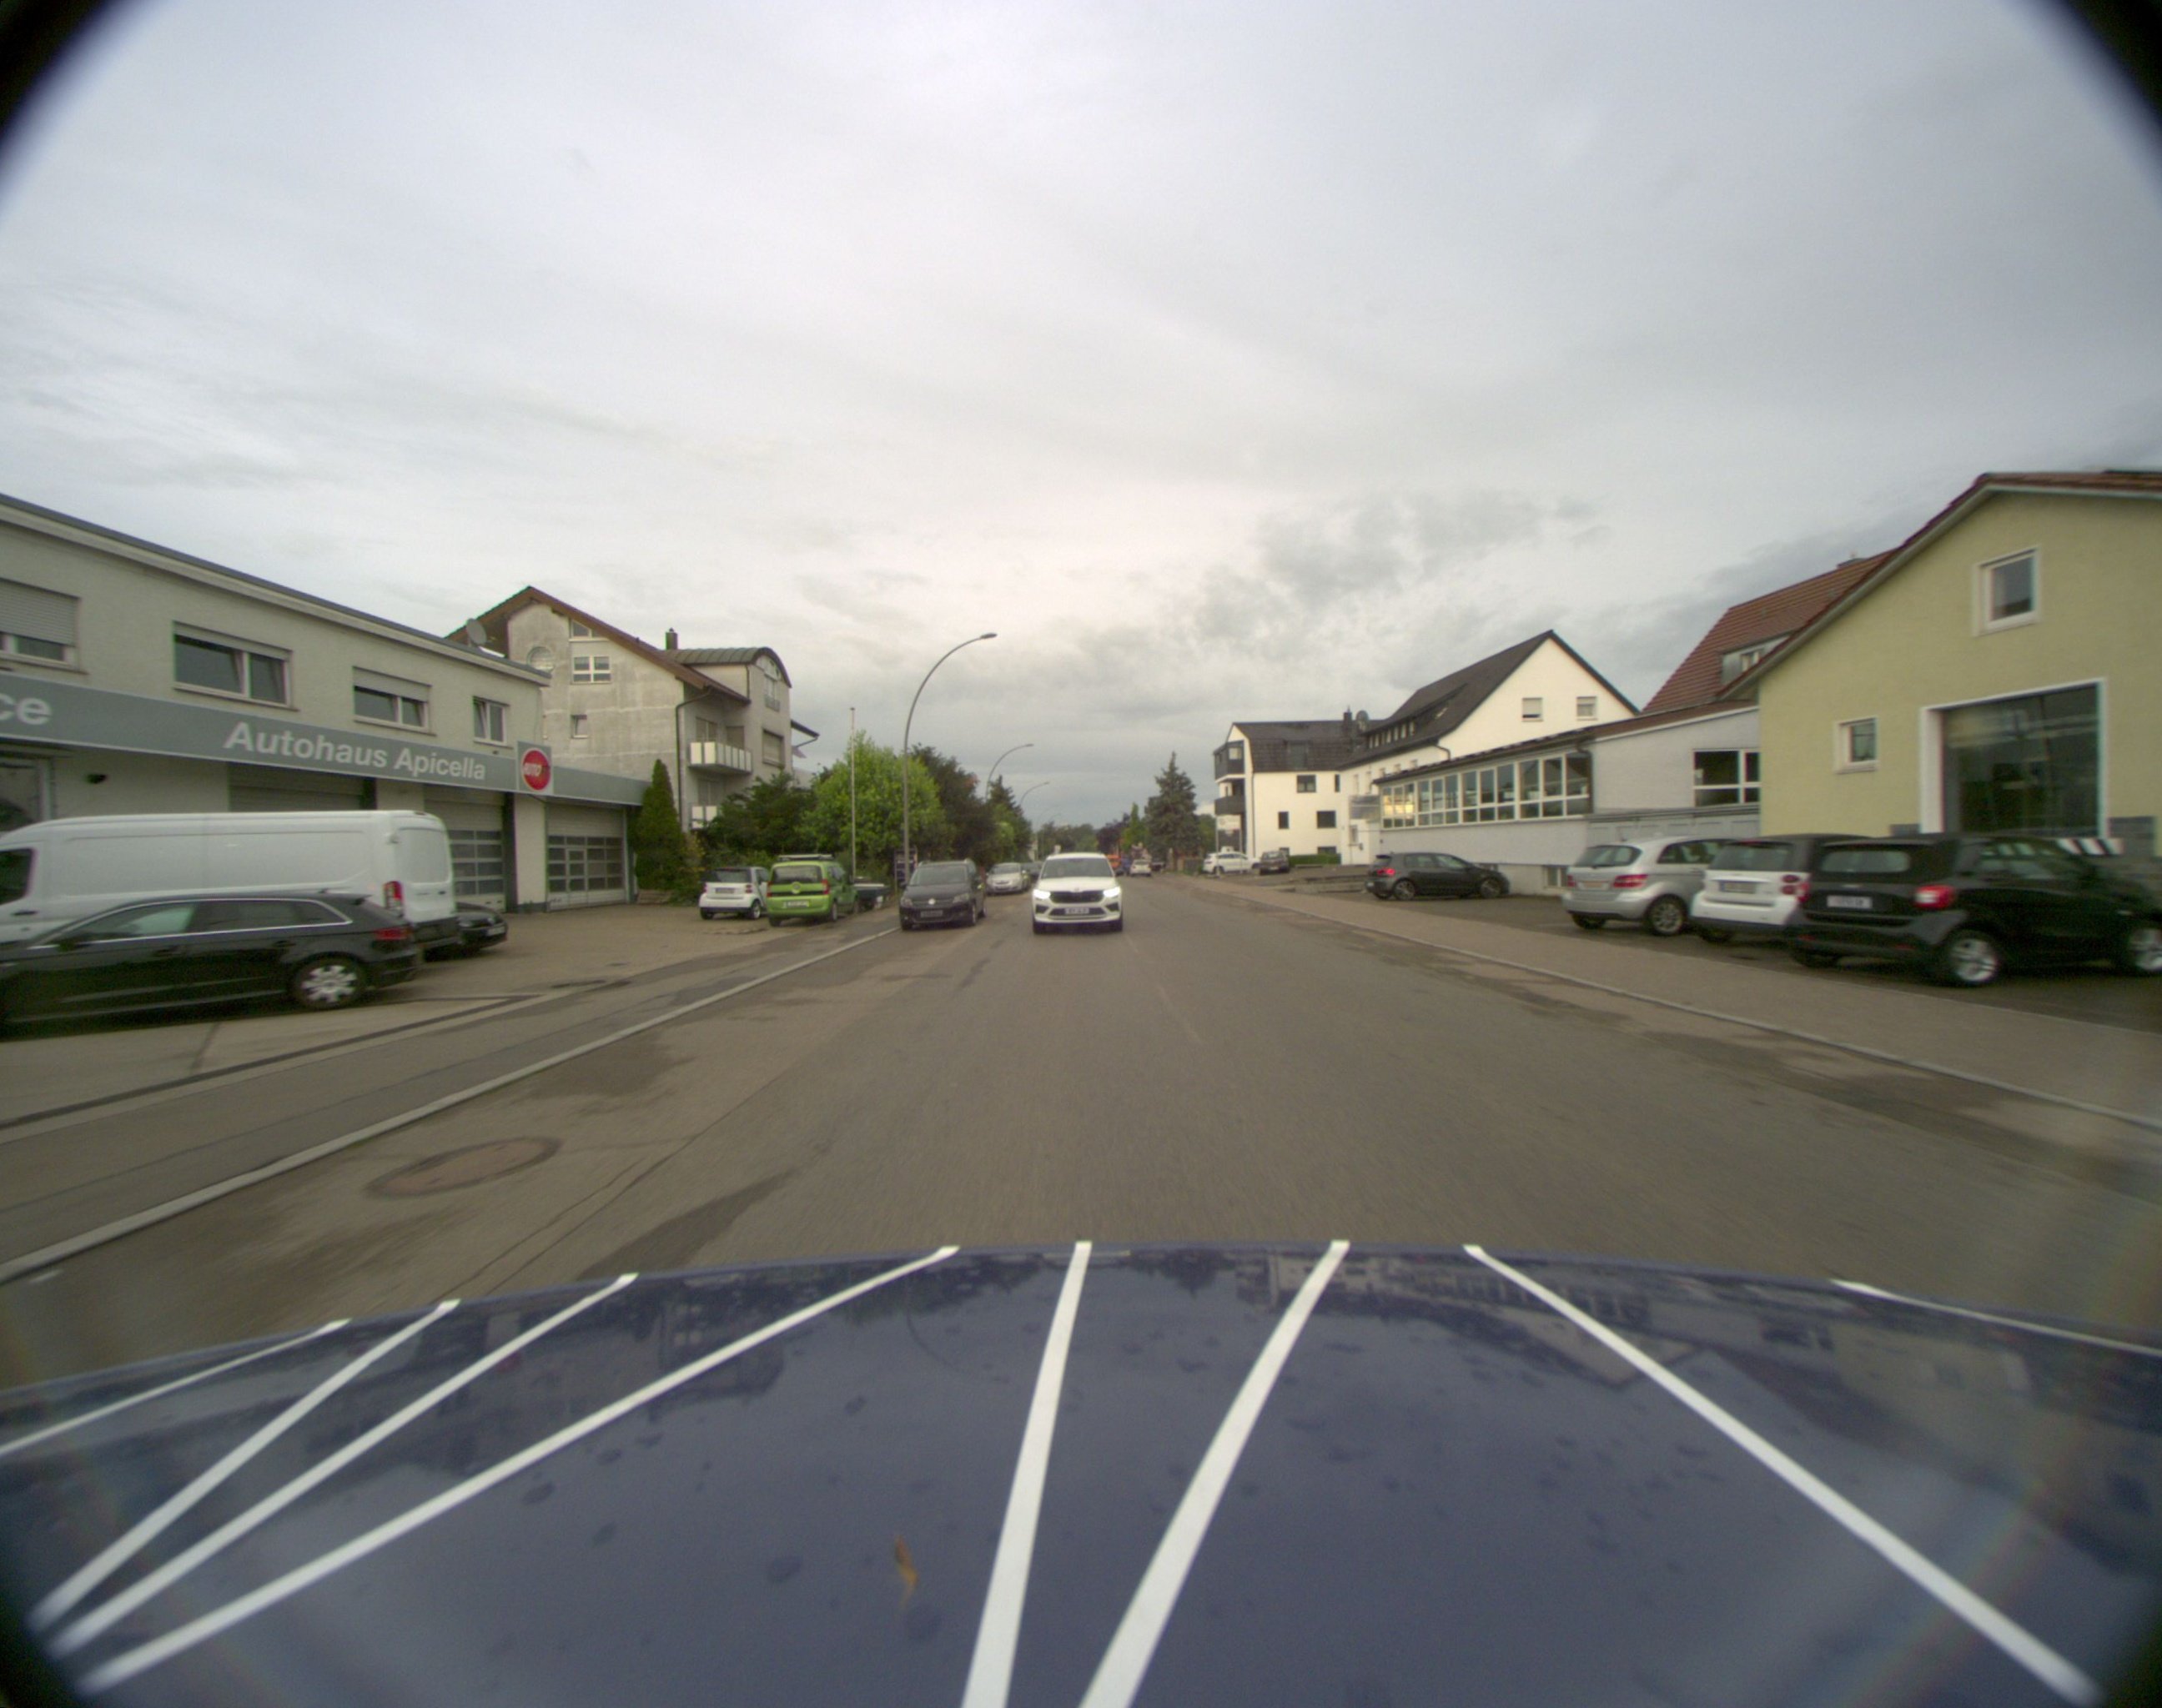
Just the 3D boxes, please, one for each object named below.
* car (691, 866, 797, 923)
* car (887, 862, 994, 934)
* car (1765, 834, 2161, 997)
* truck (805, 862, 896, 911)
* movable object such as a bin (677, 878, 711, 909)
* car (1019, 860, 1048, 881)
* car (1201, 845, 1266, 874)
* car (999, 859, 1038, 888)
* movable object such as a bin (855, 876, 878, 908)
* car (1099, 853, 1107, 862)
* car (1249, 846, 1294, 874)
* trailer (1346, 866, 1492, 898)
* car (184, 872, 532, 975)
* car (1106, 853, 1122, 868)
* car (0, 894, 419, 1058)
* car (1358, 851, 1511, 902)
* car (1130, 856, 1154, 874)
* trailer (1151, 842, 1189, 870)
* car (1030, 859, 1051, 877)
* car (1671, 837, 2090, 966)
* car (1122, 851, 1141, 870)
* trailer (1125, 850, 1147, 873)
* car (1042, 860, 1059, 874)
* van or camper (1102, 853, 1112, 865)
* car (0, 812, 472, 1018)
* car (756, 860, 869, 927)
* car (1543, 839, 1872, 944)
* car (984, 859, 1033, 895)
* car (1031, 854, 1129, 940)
[{"bbox_3d":[-10.197,1.173,23.294,1.752,1.510,3.731,1,0,-4],"label":"car"},{"bbox_3d":[-3.430,1.015,19.266,1.999,1.586,4.000,-1,0,-1],"label":"car"},{"bbox_3d":[10.275,0.575,8.364,4.096,1.494,1.755,-2,0,-6],"label":"car"},{"bbox_3d":[-7.645,1.059,25.291,2.560,1.521,1.327,-1,1,8],"label":"truck"},{"bbox_3d":[-14.593,1.496,28.663,0.860,1.072,0.758,-3,1,-1],"label":"movable object such as a bin"},{"bbox_3d":[-3.369,1.129,54.171,1.756,1.410,4.110,-1,0,0],"label":"car"},{"bbox_3d":[10.550,0.383,52.767,3.998,1.637,2.000,-5,0,-2],"label":"car"},{"bbox_3d":[-3.377,1.042,41.475,1.742,1.394,3.718,-3,0,0],"label":"car"},{"bbox_3d":[-7.532,1.330,26.689,0.576,1.069,0.682,-1,1,-1],"label":"movable object such as a bin"},{"bbox_3d":[5.483,0.891,188.931,1.659,2.220,3.744,-2,1,0],"label":"car"},{"bbox_3d":[11.974,0.345,47.958,1.824,1.521,4.000,-7,0,2],"label":"car"},{"bbox_3d":[11.535,0.945,26.111,4.208,0.937,1.794,-2,0,-2],"label":"trailer"},{"bbox_3d":[-12.846,1.183,13.763,4.313,1.564,1.896,-2,0,-4],"label":"car"},{"bbox_3d":[5.317,1.038,122.609,2.264,2.275,4.531,1,0,0],"label":"car"},{"bbox_3d":[-10.314,1.286,8.711,4.007,1.367,1.775,-2,1,-39],"label":"car"},{"bbox_3d":[10.773,0.670,23.335,3.884,1.430,1.767,-1,0,-1],"label":"car"},{"bbox_3d":[5.308,0.976,66.459,1.740,1.496,3.871,-1,0,0],"label":"car"},{"bbox_3d":[10.306,0.232,88.389,4.059,3.029,2.168,-2,1,0],"label":"trailer"},{"bbox_3d":[-3.366,1.179,63.971,1.657,1.431,4.042,-1,0,-2],"label":"car"},{"bbox_3d":[10.953,0.597,10.606,4.095,1.524,1.813,-2,0,-4],"label":"car"},{"bbox_3d":[5.971,0.777,91.030,1.998,2.112,4.755,-1,0,1],"label":"car"},{"bbox_3d":[5.262,0.712,72.876,1.722,2.114,4.006,-2,0,0],"label":"trailer"},{"bbox_3d":[-3.410,1.404,84.637,1.677,1.455,3.690,-3,0,0],"label":"car"},{"bbox_3d":[5.257,1.036,153.989,1.811,2.328,4.000,-2,0,1],"label":"van or camper"},{"bbox_3d":[-12.165,0.726,10.912,4.809,2.506,2.243,-2,0,-22],"label":"car"},{"bbox_3d":[-7.456,1.030,21.549,1.999,1.673,3.998,-2,0,-4],"label":"car"},{"bbox_3d":[10.461,0.571,12.896,4.096,1.524,1.999,-1,1,-6],"label":"car"},{"bbox_3d":[-3.351,1.037,35.933,1.742,1.493,3.881,-3,0,2],"label":"car"},{"bbox_3d":[-0.007,0.859,17.296,1.884,1.650,4.831,-1,0,0],"label":"car"}]
